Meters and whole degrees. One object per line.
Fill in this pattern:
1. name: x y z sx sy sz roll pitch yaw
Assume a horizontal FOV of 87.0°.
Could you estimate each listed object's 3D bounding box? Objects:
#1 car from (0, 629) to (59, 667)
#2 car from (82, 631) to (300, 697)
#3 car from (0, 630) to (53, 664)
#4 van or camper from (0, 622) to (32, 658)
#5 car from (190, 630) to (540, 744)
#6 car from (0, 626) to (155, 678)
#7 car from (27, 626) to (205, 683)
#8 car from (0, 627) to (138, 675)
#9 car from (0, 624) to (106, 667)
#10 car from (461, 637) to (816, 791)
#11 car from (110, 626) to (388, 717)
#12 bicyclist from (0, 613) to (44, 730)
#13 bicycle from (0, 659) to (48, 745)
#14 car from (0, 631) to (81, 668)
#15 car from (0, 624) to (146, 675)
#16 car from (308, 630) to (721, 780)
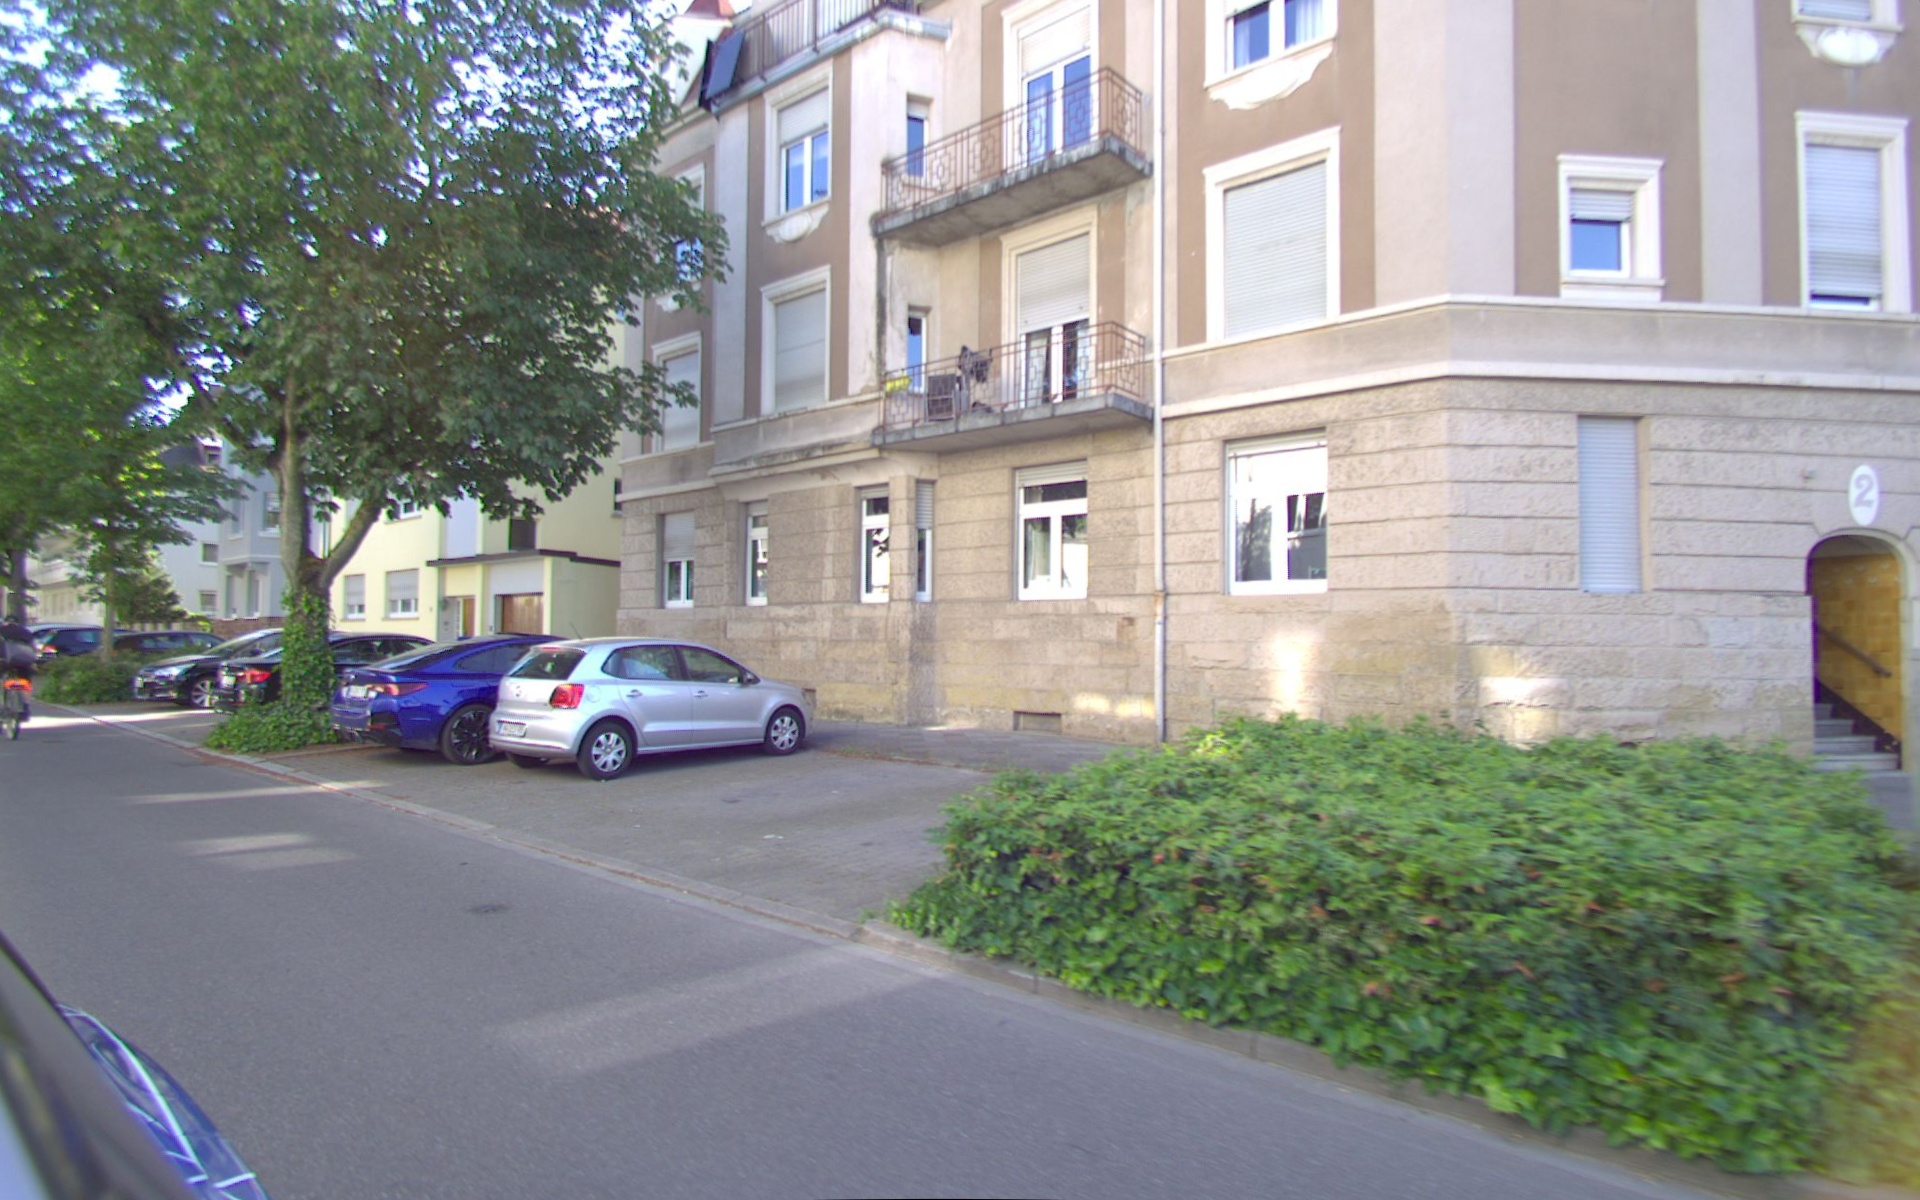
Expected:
1. car: -41.725 2.061 43.692 1.876 1.604 3.948 -1 -3 38
2. car: -18.602 1.511 24.626 1.769 1.432 3.947 -3 -3 39
3. car: -43.918 2.103 45.693 1.859 1.510 4.145 -1 -3 39
4. van or camper: -52.716 2.141 54.005 1.962 1.929 4.451 -1 -3 40
5. car: -9.267 1.257 16.111 1.866 1.490 4.431 0 -1 38
6. car: -28.622 1.627 32.580 1.805 1.496 3.982 -2 -1 39
7. car: -24.886 1.557 29.968 3.973 1.455 1.803 0 0 -41
8. car: -32.130 1.800 36.364 1.848 1.587 3.821 -2 -2 43
9. car: -36.804 1.793 40.035 1.822 1.665 4.340 -2 -4 41
10. car: -3.531 1.159 11.607 1.728 1.441 3.545 -2 -2 38
11. car: -14.066 1.323 20.268 1.994 1.511 4.140 0 0 32
12. bicyclist: -13.108 0.963 13.807 1.136 1.548 0.714 -2 -4 40
13. bicycle: -13.145 1.362 13.853 1.889 1.087 0.712 -2 -4 41
14. car: -38.842 2.004 41.501 1.695 1.479 3.947 -1 -3 39
15. car: -30.190 1.643 34.491 1.766 1.587 3.485 -1 -2 35
16. car: -5.400 1.152 12.799 1.866 1.490 4.431 0 -1 38
